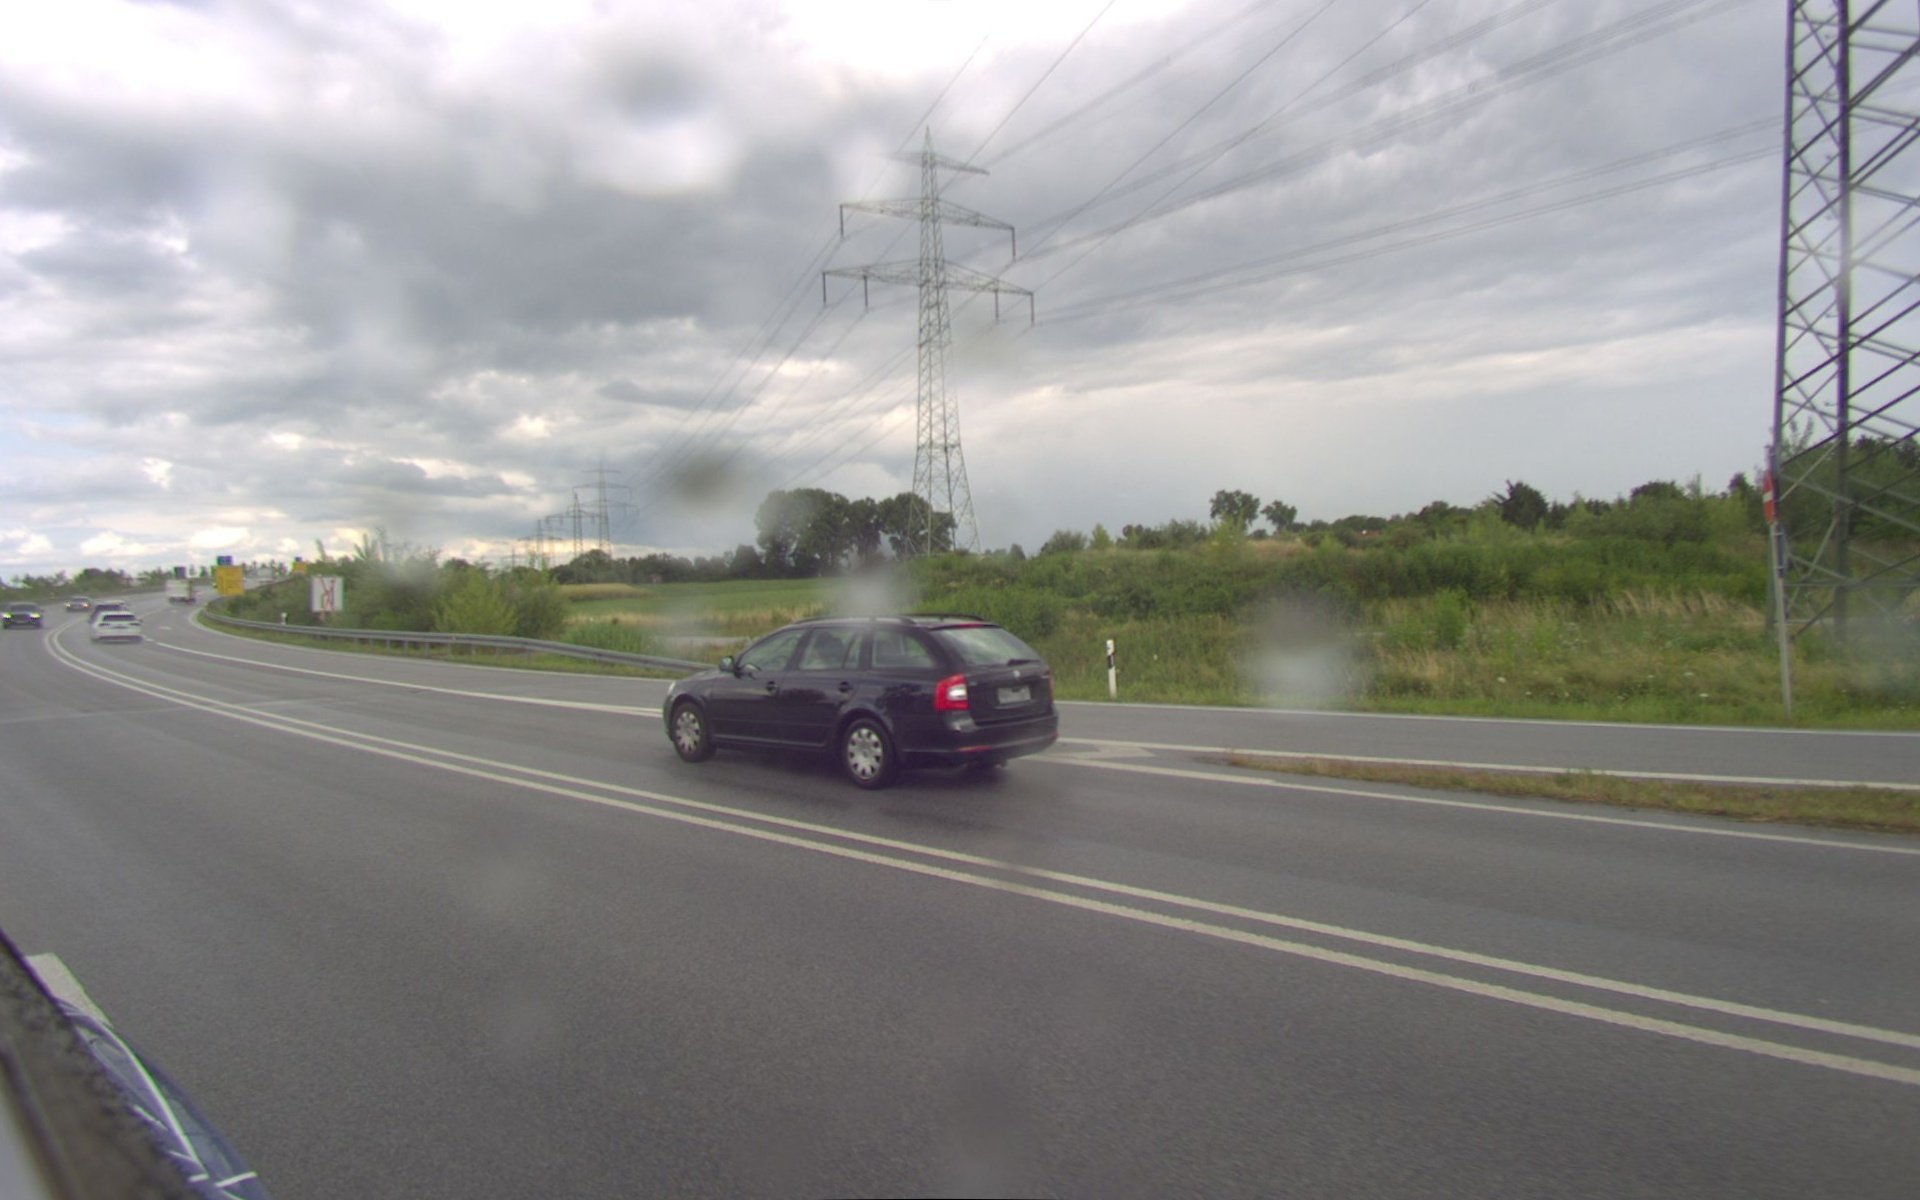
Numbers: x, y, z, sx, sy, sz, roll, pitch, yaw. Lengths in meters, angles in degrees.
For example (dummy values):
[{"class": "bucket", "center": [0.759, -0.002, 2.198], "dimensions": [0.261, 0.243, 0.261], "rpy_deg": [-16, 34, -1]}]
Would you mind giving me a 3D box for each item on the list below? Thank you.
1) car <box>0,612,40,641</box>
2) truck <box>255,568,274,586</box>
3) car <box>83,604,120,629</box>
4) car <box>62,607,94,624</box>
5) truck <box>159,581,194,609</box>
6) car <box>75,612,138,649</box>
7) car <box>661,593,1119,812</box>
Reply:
[{"class": "car", "center": [-60.760, 1.692, 65.385], "dimensions": [1.769, 1.782, 4.006], "rpy_deg": [-2, 1, -40]}, {"class": "truck", "center": [-136.817, -4.509, 199.068], "dimensions": [2.446, 3.316, 7.303], "rpy_deg": [-2, 1, -30]}, {"class": "car", "center": [-56.907, 1.080, 67.144], "dimensions": [1.777, 1.586, 4.267], "rpy_deg": [1, 0, -39]}, {"class": "car", "center": [-86.734, 1.507, 99.547], "dimensions": [1.720, 1.508, 4.062], "rpy_deg": [-2, 0, -31]}, {"class": "truck", "center": [-94.526, -0.597, 122.167], "dimensions": [2.224, 3.180, 6.711], "rpy_deg": [1, 0, -28]}, {"class": "car", "center": [-39.385, 1.370, 46.684], "dimensions": [4.611, 1.491, 1.686], "rpy_deg": [1, 1, 43]}, {"class": "car", "center": [-0.811, 0.783, 9.452], "dimensions": [4.222, 1.606, 1.781], "rpy_deg": [-1, -1, 40]}]
